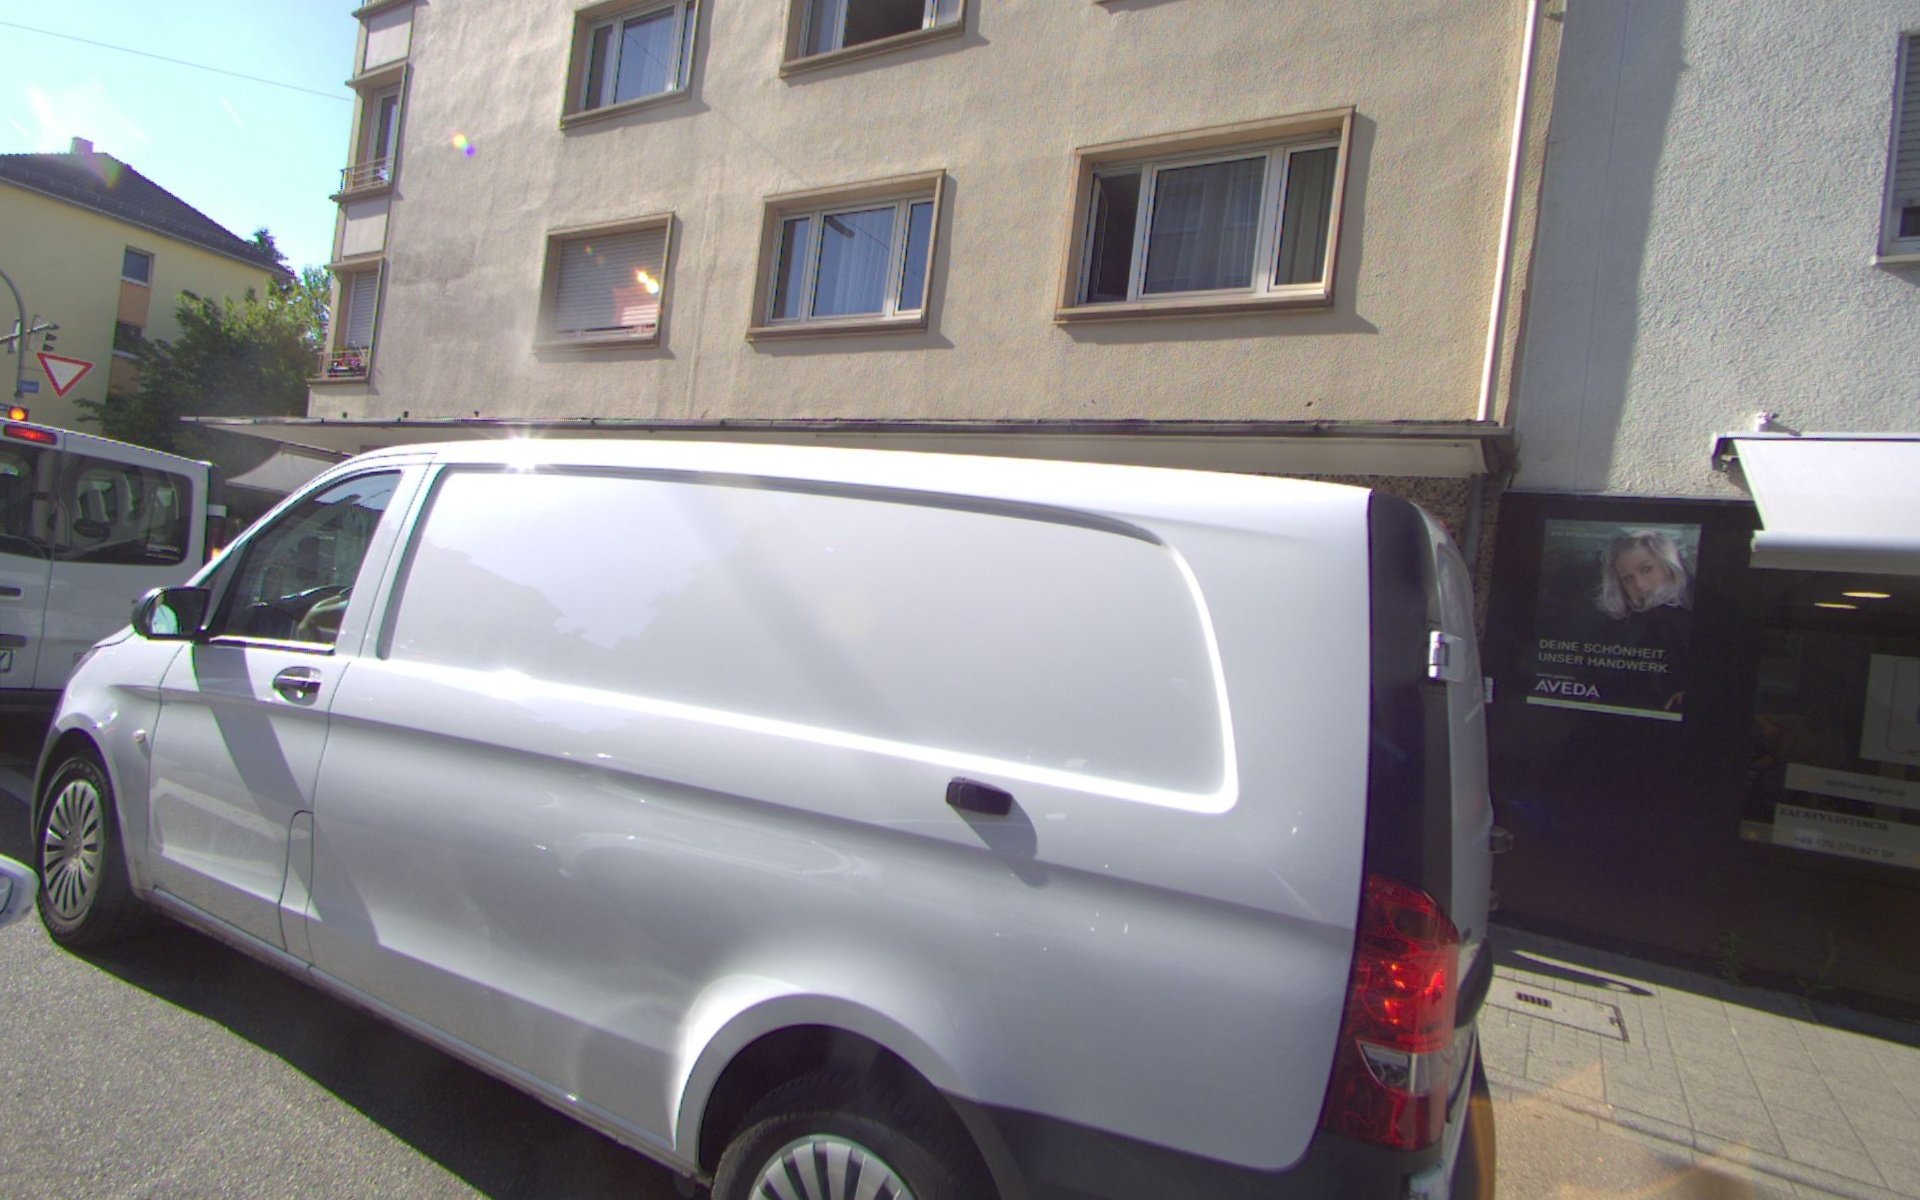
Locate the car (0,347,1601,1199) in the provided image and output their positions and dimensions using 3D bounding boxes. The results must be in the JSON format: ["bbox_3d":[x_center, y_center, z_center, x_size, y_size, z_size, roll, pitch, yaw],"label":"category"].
[{"bbox_3d":[-0.982,0.447,3.297,4.911,1.891,1.840,7,-1,30],"label":"car"}]

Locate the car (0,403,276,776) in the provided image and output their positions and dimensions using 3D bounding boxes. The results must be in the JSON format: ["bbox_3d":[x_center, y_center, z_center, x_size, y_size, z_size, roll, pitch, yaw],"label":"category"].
[{"bbox_3d":[-7.105,-0.255,6.893,4.813,2.002,1.998,7,-2,31],"label":"car"}]
